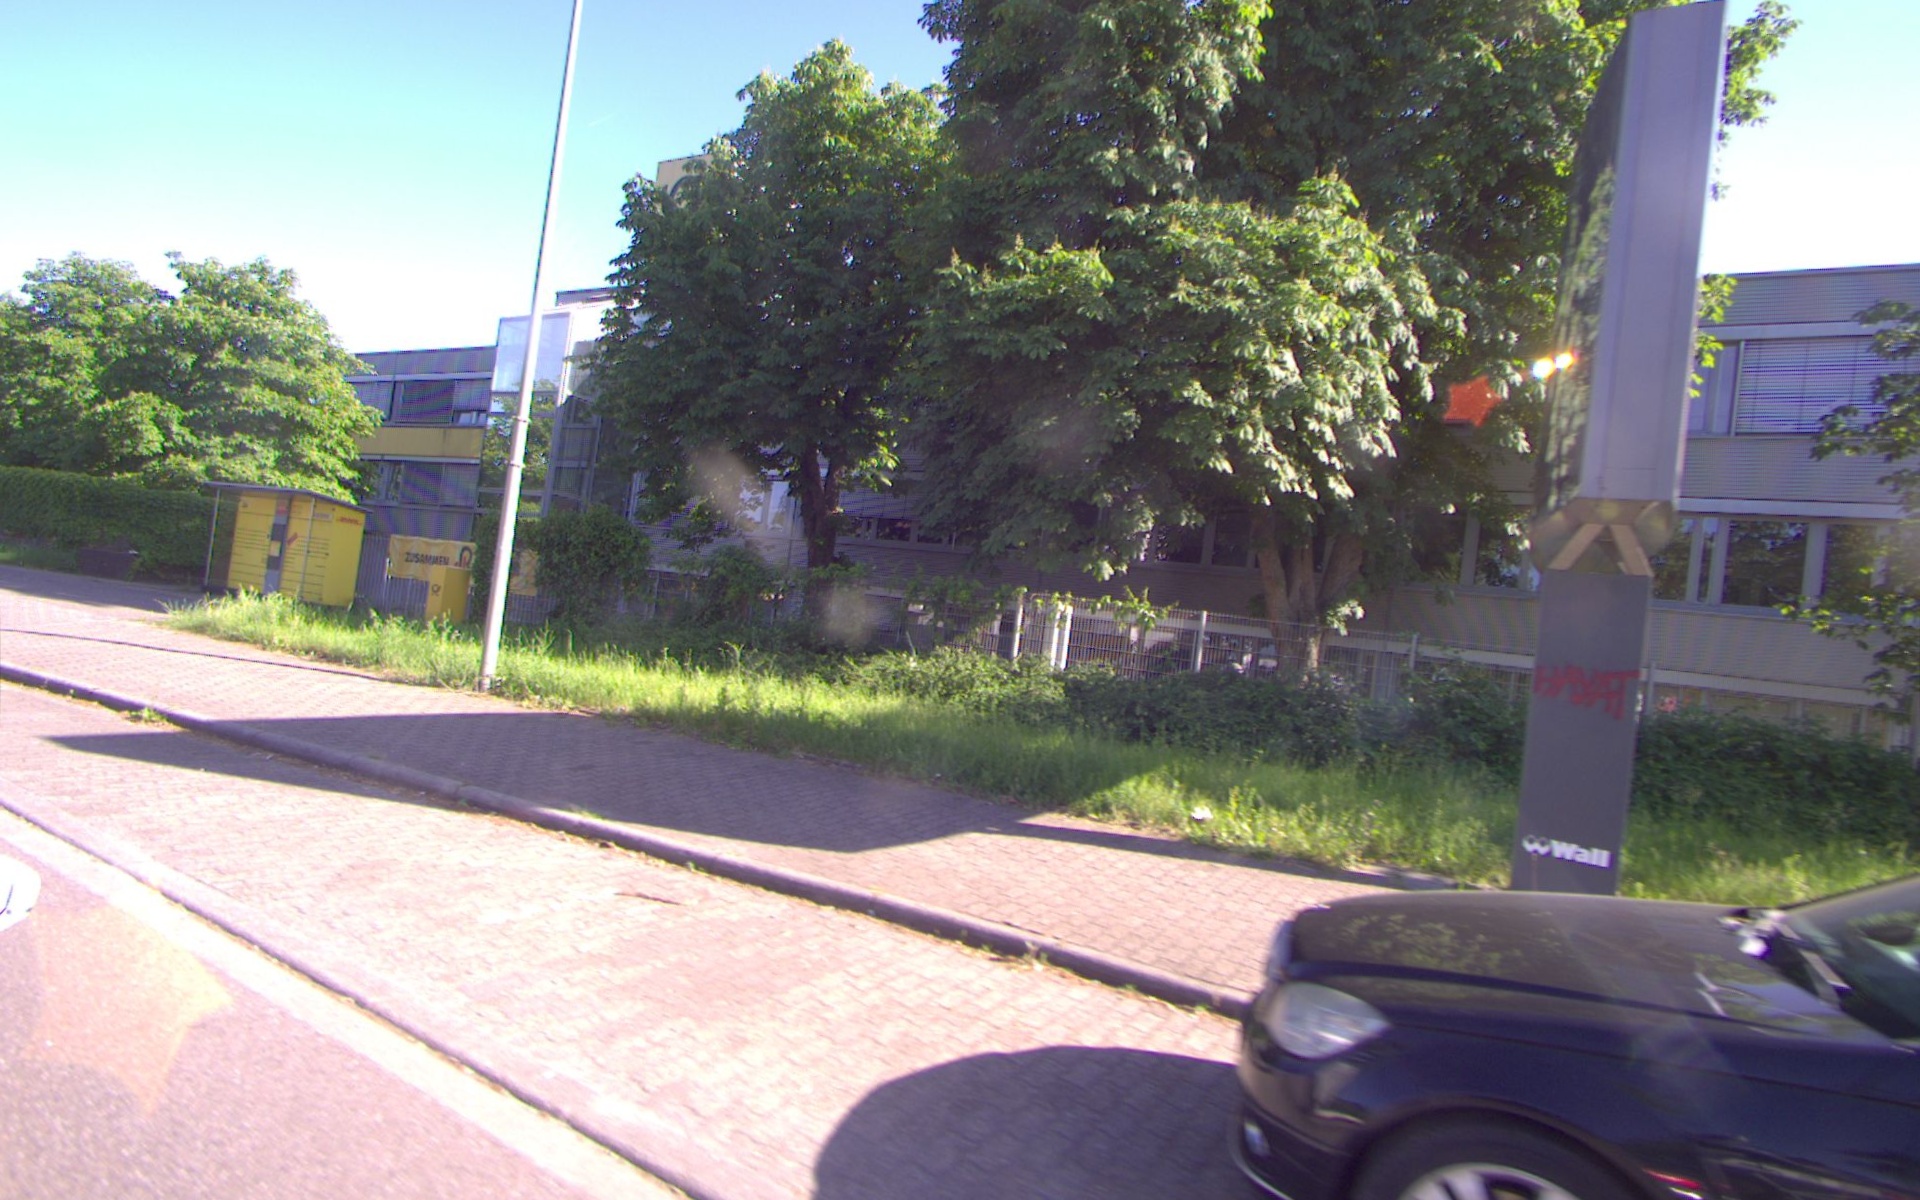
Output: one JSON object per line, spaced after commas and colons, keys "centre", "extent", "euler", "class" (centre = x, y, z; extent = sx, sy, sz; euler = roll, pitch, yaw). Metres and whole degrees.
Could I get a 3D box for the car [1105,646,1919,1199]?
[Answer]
{"centre": [2.716, 1.131, 2.029], "extent": [4.350, 1.436, 1.812], "euler": [7, -1, 31], "class": "car"}
